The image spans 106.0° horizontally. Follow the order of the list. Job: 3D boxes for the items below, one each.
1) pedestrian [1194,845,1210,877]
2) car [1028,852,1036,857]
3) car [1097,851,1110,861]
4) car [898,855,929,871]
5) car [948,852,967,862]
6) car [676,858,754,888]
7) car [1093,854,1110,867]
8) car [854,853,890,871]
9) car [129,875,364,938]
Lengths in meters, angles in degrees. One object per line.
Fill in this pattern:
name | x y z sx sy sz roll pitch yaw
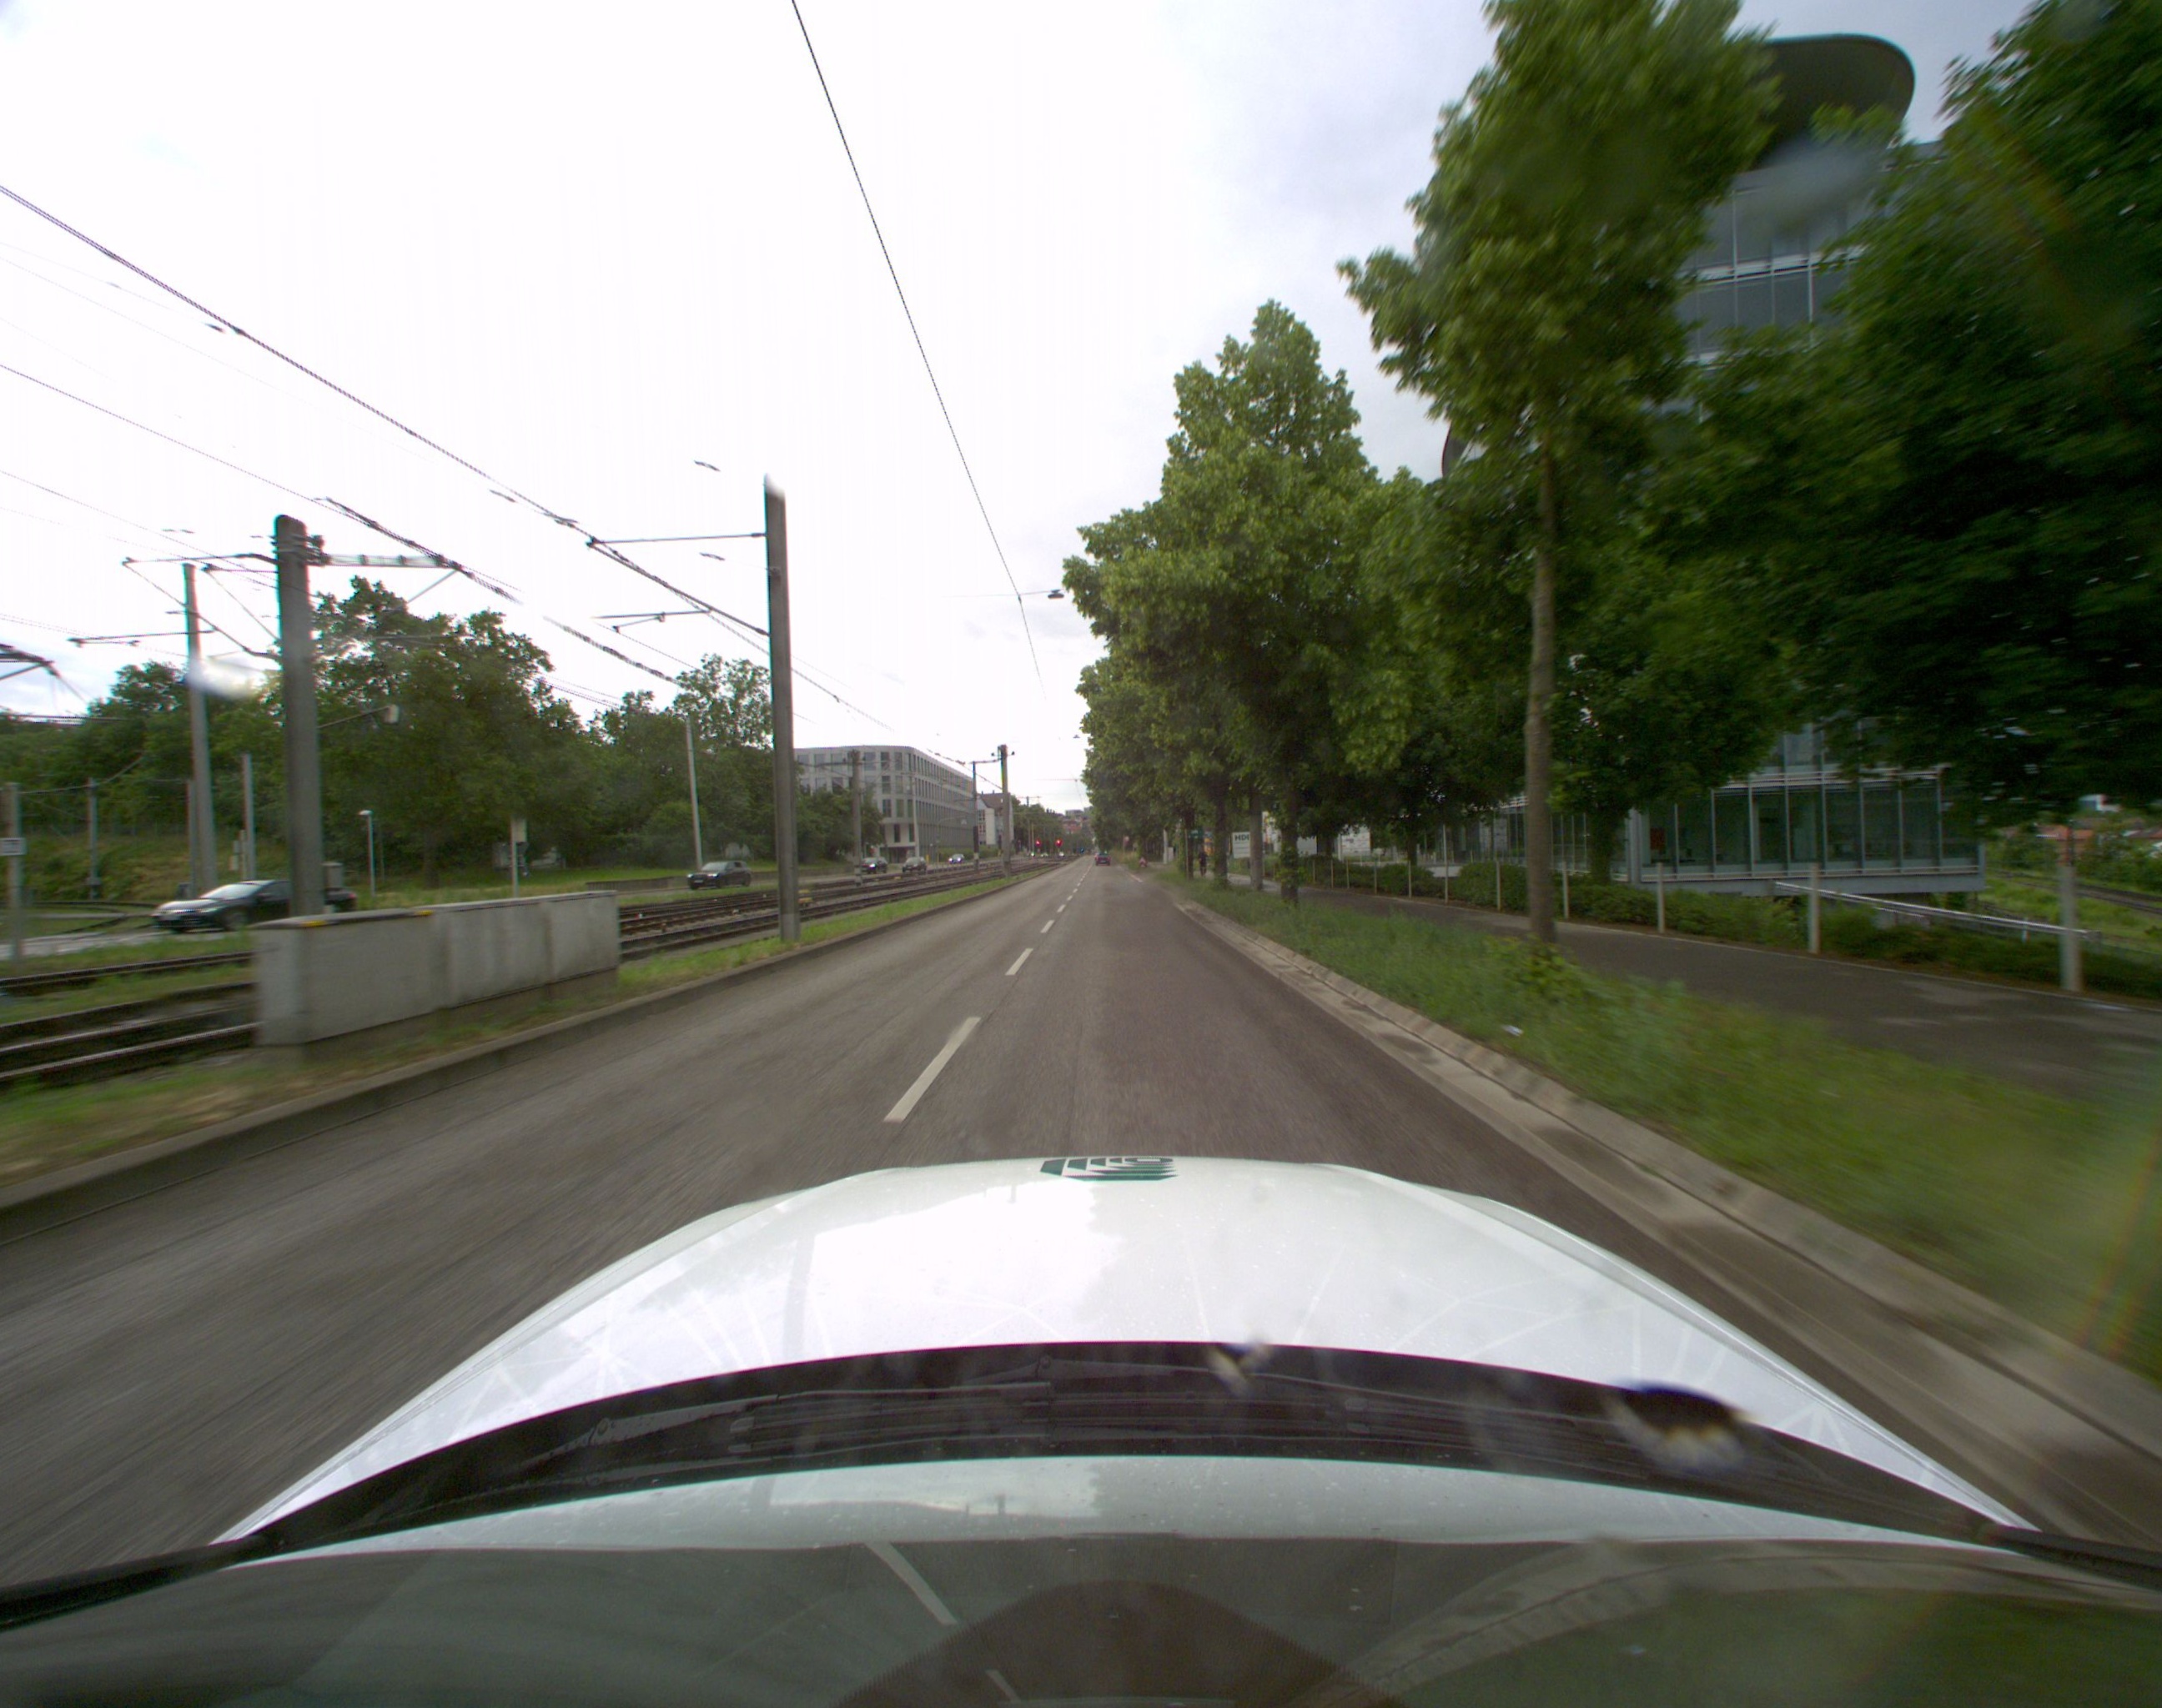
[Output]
pedestrian | 6.883 0.375 46.376 0.823 1.797 0.868 -1 0 2
car | -12.537 0.165 208.333 1.750 1.244 3.989 -2 0 2
car | 3.697 0.275 131.613 1.975 1.440 4.476 -2 0 2
car | -16.790 0.868 81.996 1.882 1.486 4.313 -2 0 4
car | -17.779 0.384 117.341 1.753 1.397 3.905 -2 0 4
car | -22.274 1.125 49.861 2.080 1.589 5.164 -2 0 4
car | 2.434 0.748 95.698 1.975 1.440 4.476 -2 0 2
car | -19.824 0.737 77.346 1.940 1.595 4.850 -2 0 2
car | -24.383 1.466 24.120 1.918 1.446 4.687 -2 0 4
